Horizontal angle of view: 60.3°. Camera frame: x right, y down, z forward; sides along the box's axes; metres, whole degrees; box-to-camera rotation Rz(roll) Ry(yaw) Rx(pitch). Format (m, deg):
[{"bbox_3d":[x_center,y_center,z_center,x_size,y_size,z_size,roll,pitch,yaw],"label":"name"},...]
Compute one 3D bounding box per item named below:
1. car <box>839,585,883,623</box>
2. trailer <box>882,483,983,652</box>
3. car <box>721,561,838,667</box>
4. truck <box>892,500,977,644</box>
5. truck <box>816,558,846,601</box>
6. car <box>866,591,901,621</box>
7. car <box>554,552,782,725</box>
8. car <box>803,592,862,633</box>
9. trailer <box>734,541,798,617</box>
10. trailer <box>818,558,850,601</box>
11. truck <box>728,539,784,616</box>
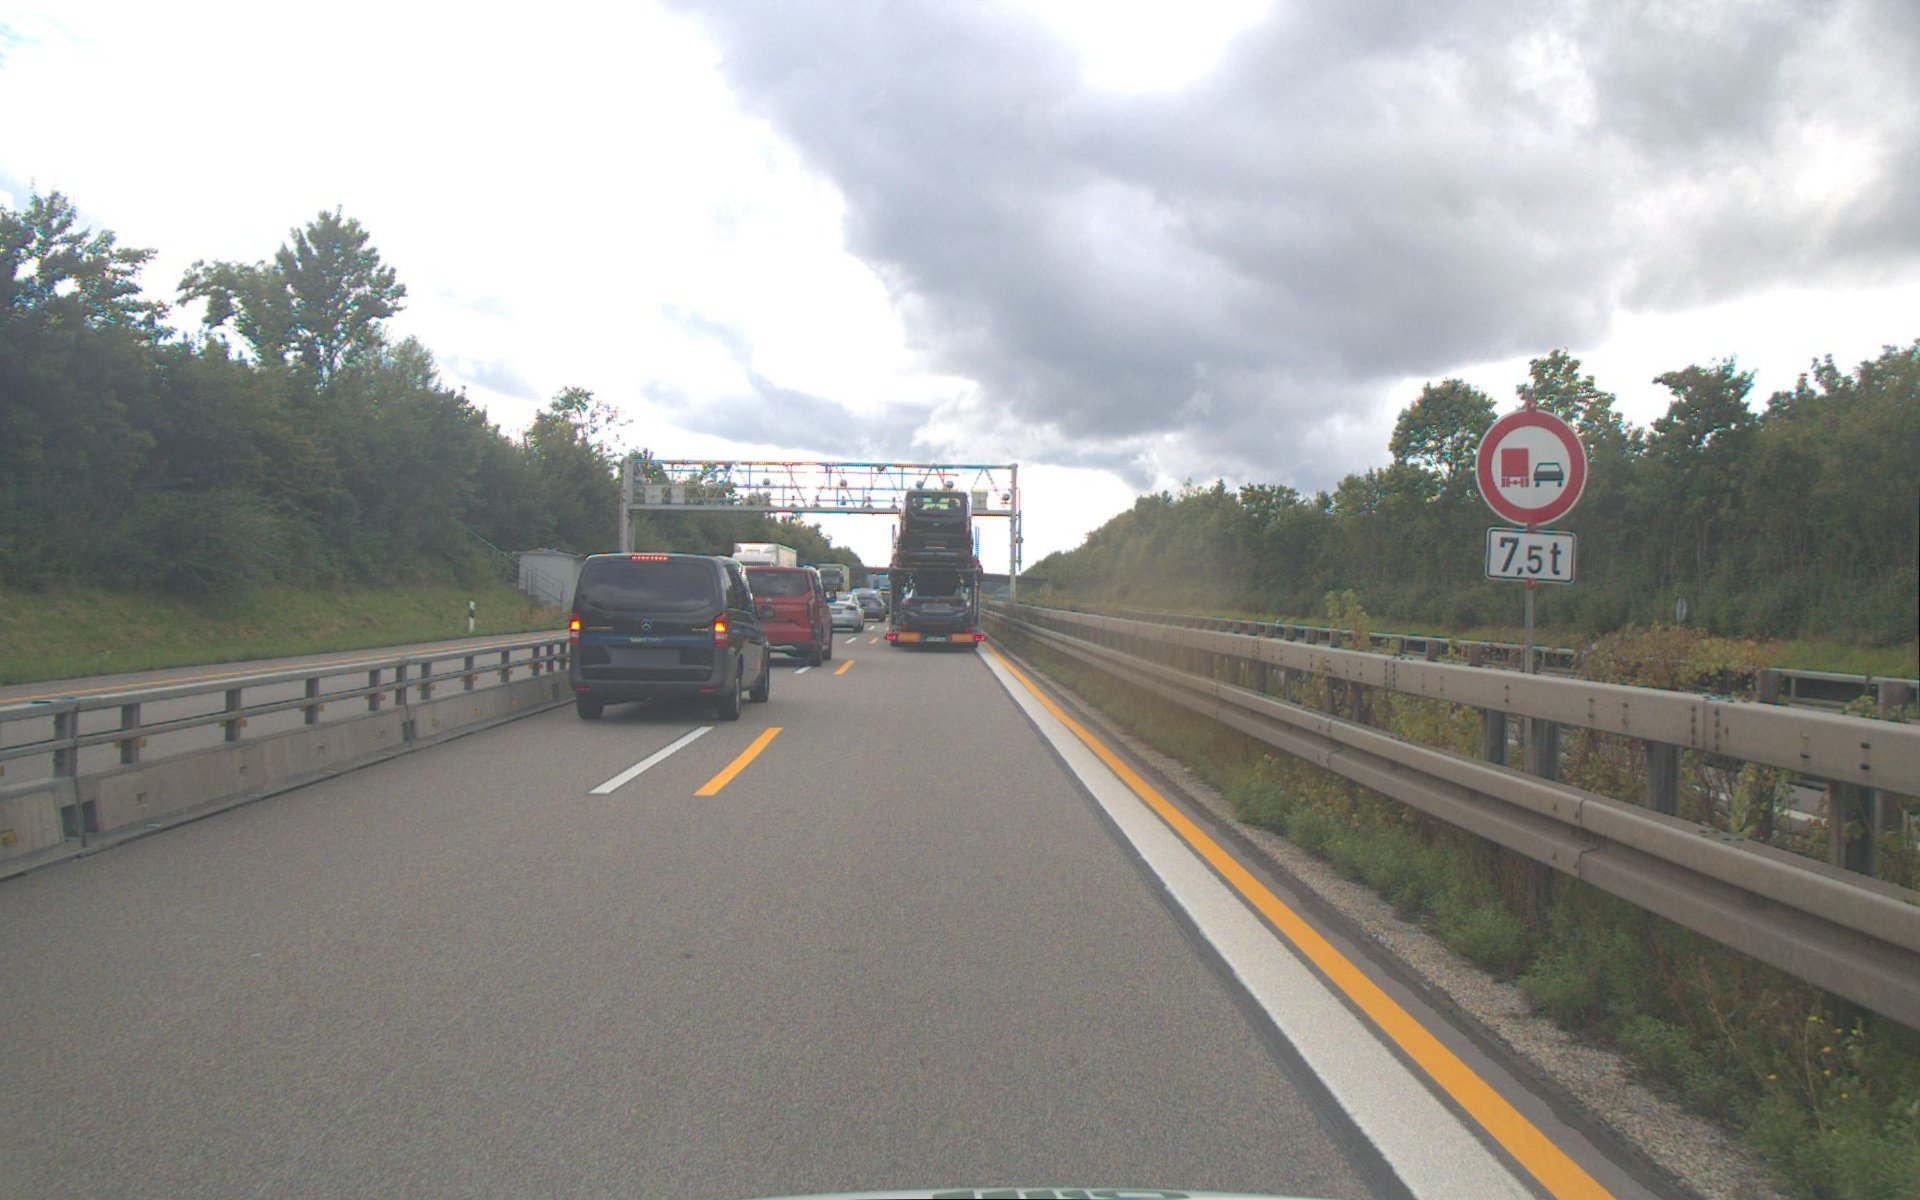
[{"bbox_3d":[-4.881,0.188,81.978,1.990,1.788,4.576,0,0,-2],"label":"car"},{"bbox_3d":[-0.734,-0.816,46.696,2.464,4.177,11.111,1,0,0],"label":"trailer"},{"bbox_3d":[-3.658,0.268,34.272,1.990,2.049,4.577,0,0,-1],"label":"car"},{"bbox_3d":[-0.773,-0.820,51.441,2.464,4.177,5.684,1,0,-1],"label":"truck"},{"bbox_3d":[-12.928,-2.064,166.082,2.546,4.227,5.619,1,0,-1],"label":"truck"},{"bbox_3d":[-4.597,0.343,99.819,1.990,1.788,4.576,0,0,-2],"label":"car"},{"bbox_3d":[-3.473,0.418,20.785,1.953,1.875,5.608,0,0,-1],"label":"car"},{"bbox_3d":[-4.711,0.436,61.718,1.990,1.456,4.576,0,0,-2],"label":"car"},{"bbox_3d":[-11.741,-1.278,101.223,2.546,4.227,13.988,1,1,-1],"label":"trailer"},{"bbox_3d":[-13.087,-2.132,172.805,2.546,4.227,13.988,1,1,-1],"label":"trailer"},{"bbox_3d":[-11.568,-1.272,94.329,2.546,4.227,5.619,1,0,-1],"label":"truck"}]
